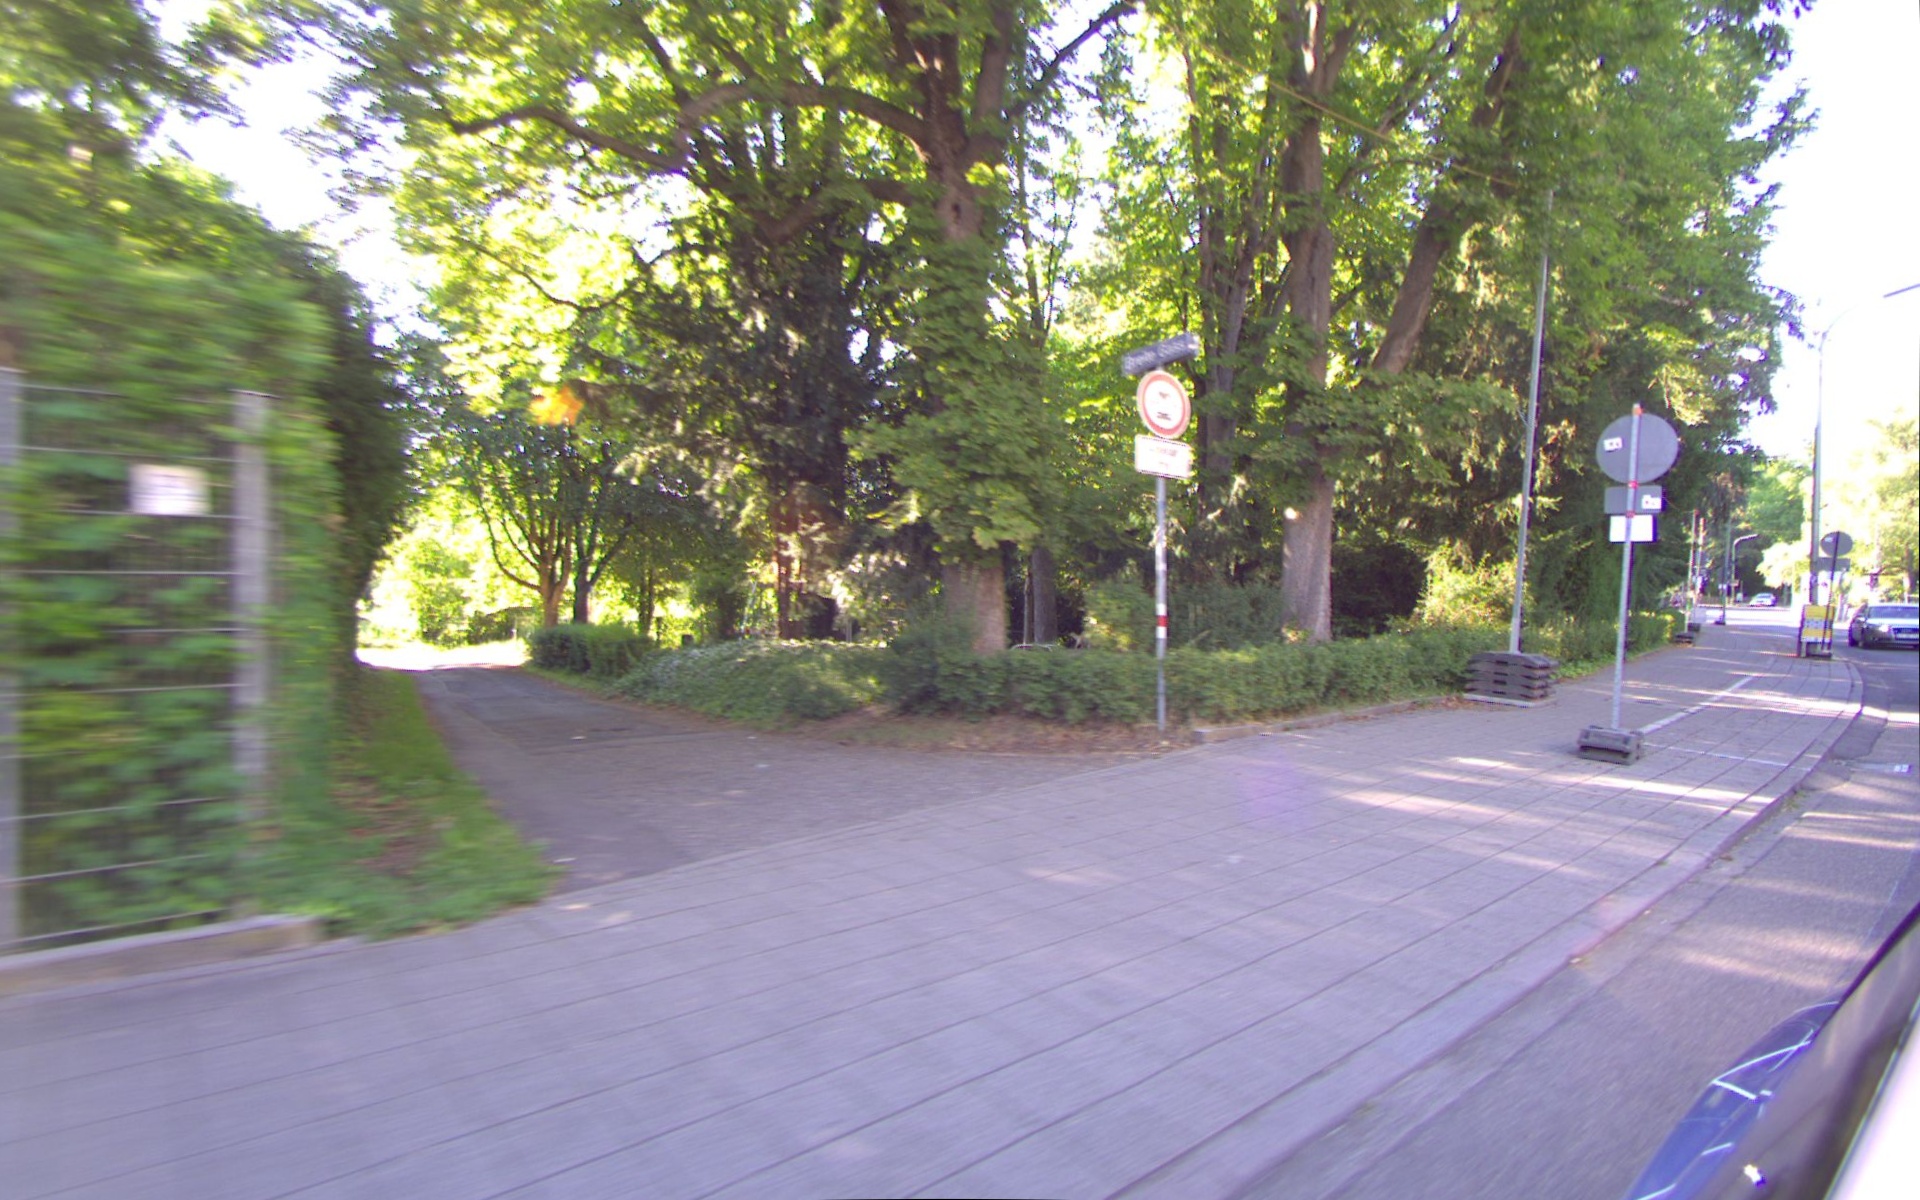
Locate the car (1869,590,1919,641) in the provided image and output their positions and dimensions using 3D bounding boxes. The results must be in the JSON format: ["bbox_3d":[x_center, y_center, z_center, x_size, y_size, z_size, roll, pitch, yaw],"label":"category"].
[{"bbox_3d":[29.597,0.456,31.495,1.655,1.495,3.633,1,1,38],"label":"car"}]
